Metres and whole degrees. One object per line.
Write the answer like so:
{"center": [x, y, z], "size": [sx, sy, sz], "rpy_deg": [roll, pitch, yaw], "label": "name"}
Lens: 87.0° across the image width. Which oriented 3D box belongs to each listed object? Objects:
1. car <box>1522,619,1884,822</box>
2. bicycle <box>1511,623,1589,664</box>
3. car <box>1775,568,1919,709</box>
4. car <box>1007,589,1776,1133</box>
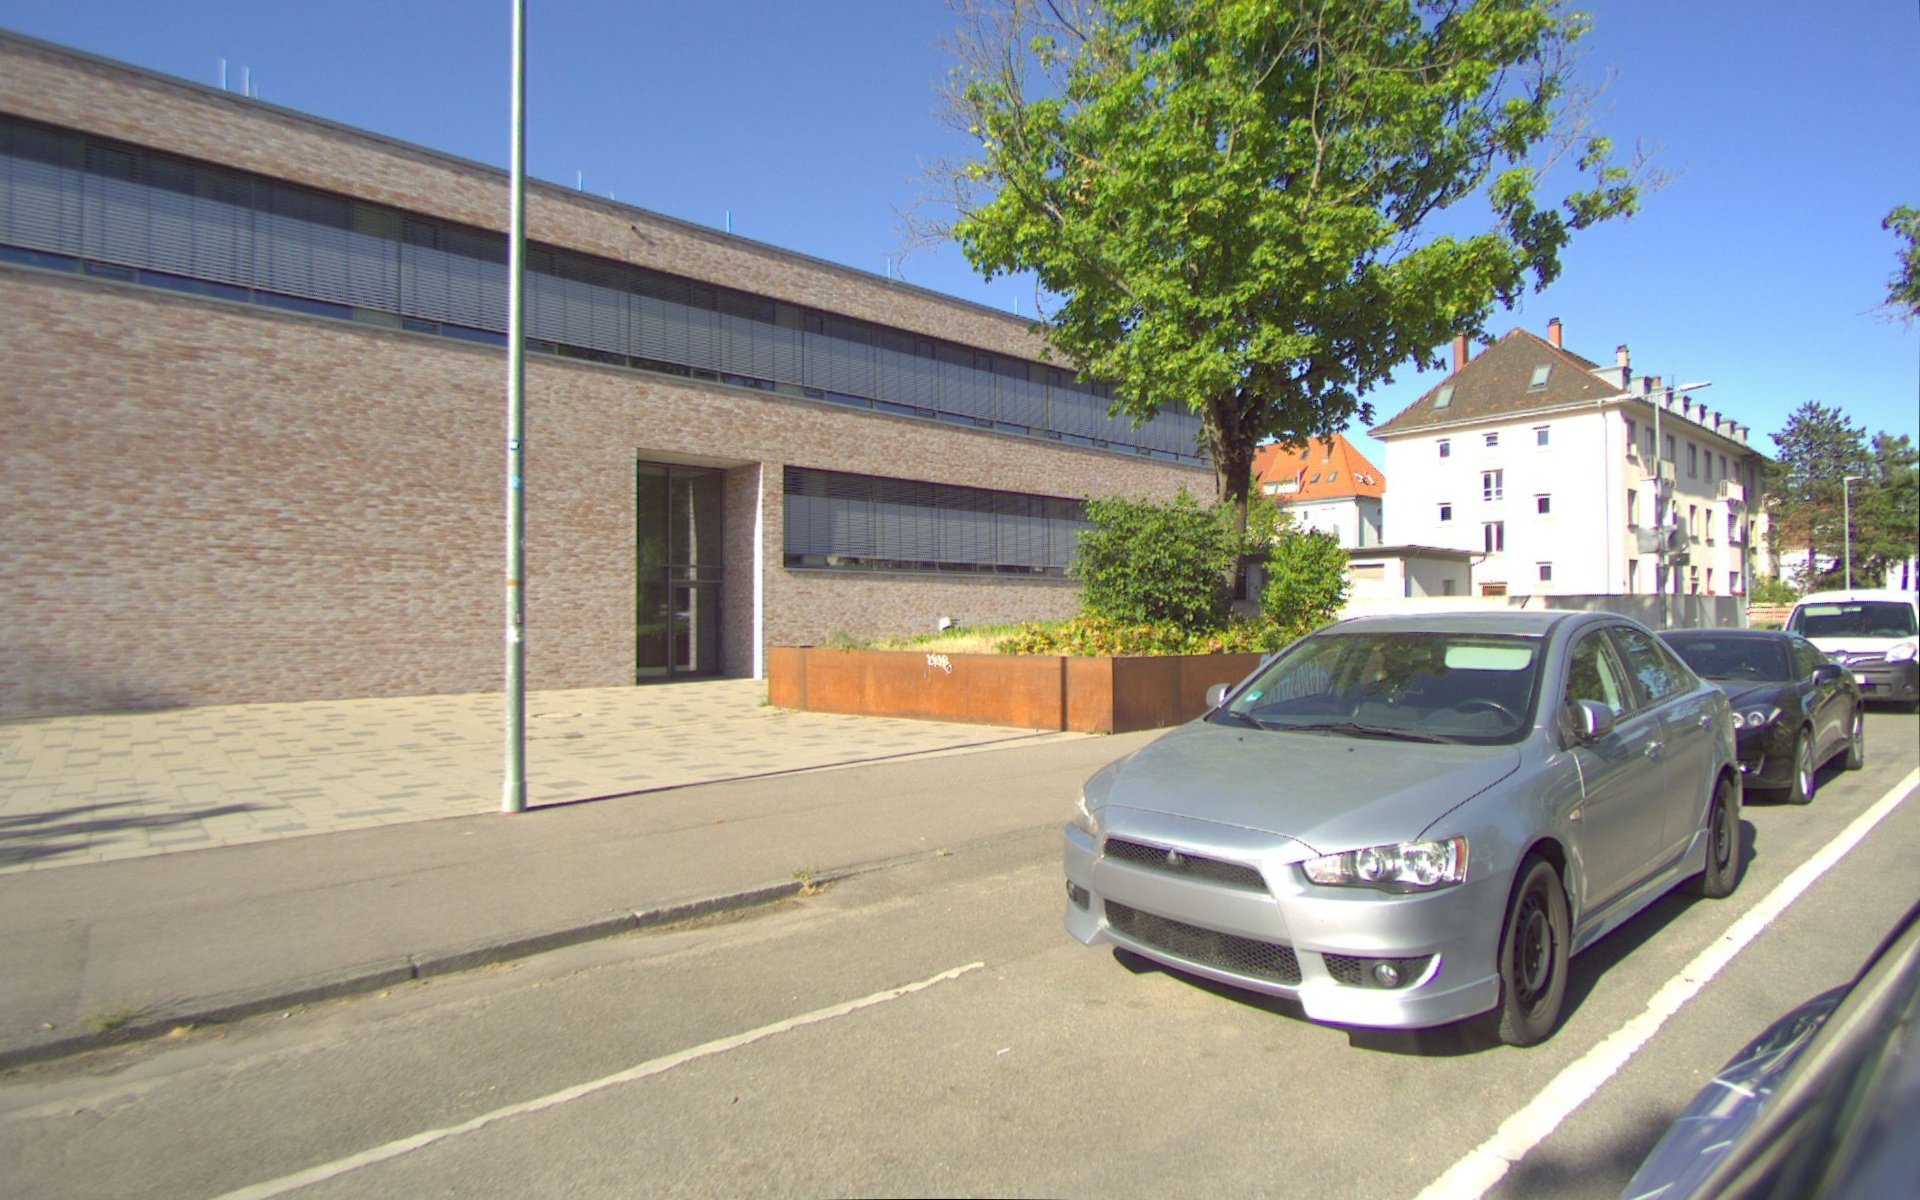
{"center": [6.655, 0.868, 8.899], "size": [4.057, 1.342, 1.704], "rpy_deg": [0, -2, -41], "label": "car"}
{"center": [15.517, 1.154, 26.654], "size": [0.491, 1.043, 1.670], "rpy_deg": [1, -3, -42], "label": "bicycle"}
{"center": [14.317, 0.554, 15.787], "size": [4.385, 1.933, 1.810], "rpy_deg": [1, -2, -42], "label": "car"}
{"center": [2.300, 0.744, 4.803], "size": [4.100, 1.497, 1.704], "rpy_deg": [0, -2, -41], "label": "car"}
